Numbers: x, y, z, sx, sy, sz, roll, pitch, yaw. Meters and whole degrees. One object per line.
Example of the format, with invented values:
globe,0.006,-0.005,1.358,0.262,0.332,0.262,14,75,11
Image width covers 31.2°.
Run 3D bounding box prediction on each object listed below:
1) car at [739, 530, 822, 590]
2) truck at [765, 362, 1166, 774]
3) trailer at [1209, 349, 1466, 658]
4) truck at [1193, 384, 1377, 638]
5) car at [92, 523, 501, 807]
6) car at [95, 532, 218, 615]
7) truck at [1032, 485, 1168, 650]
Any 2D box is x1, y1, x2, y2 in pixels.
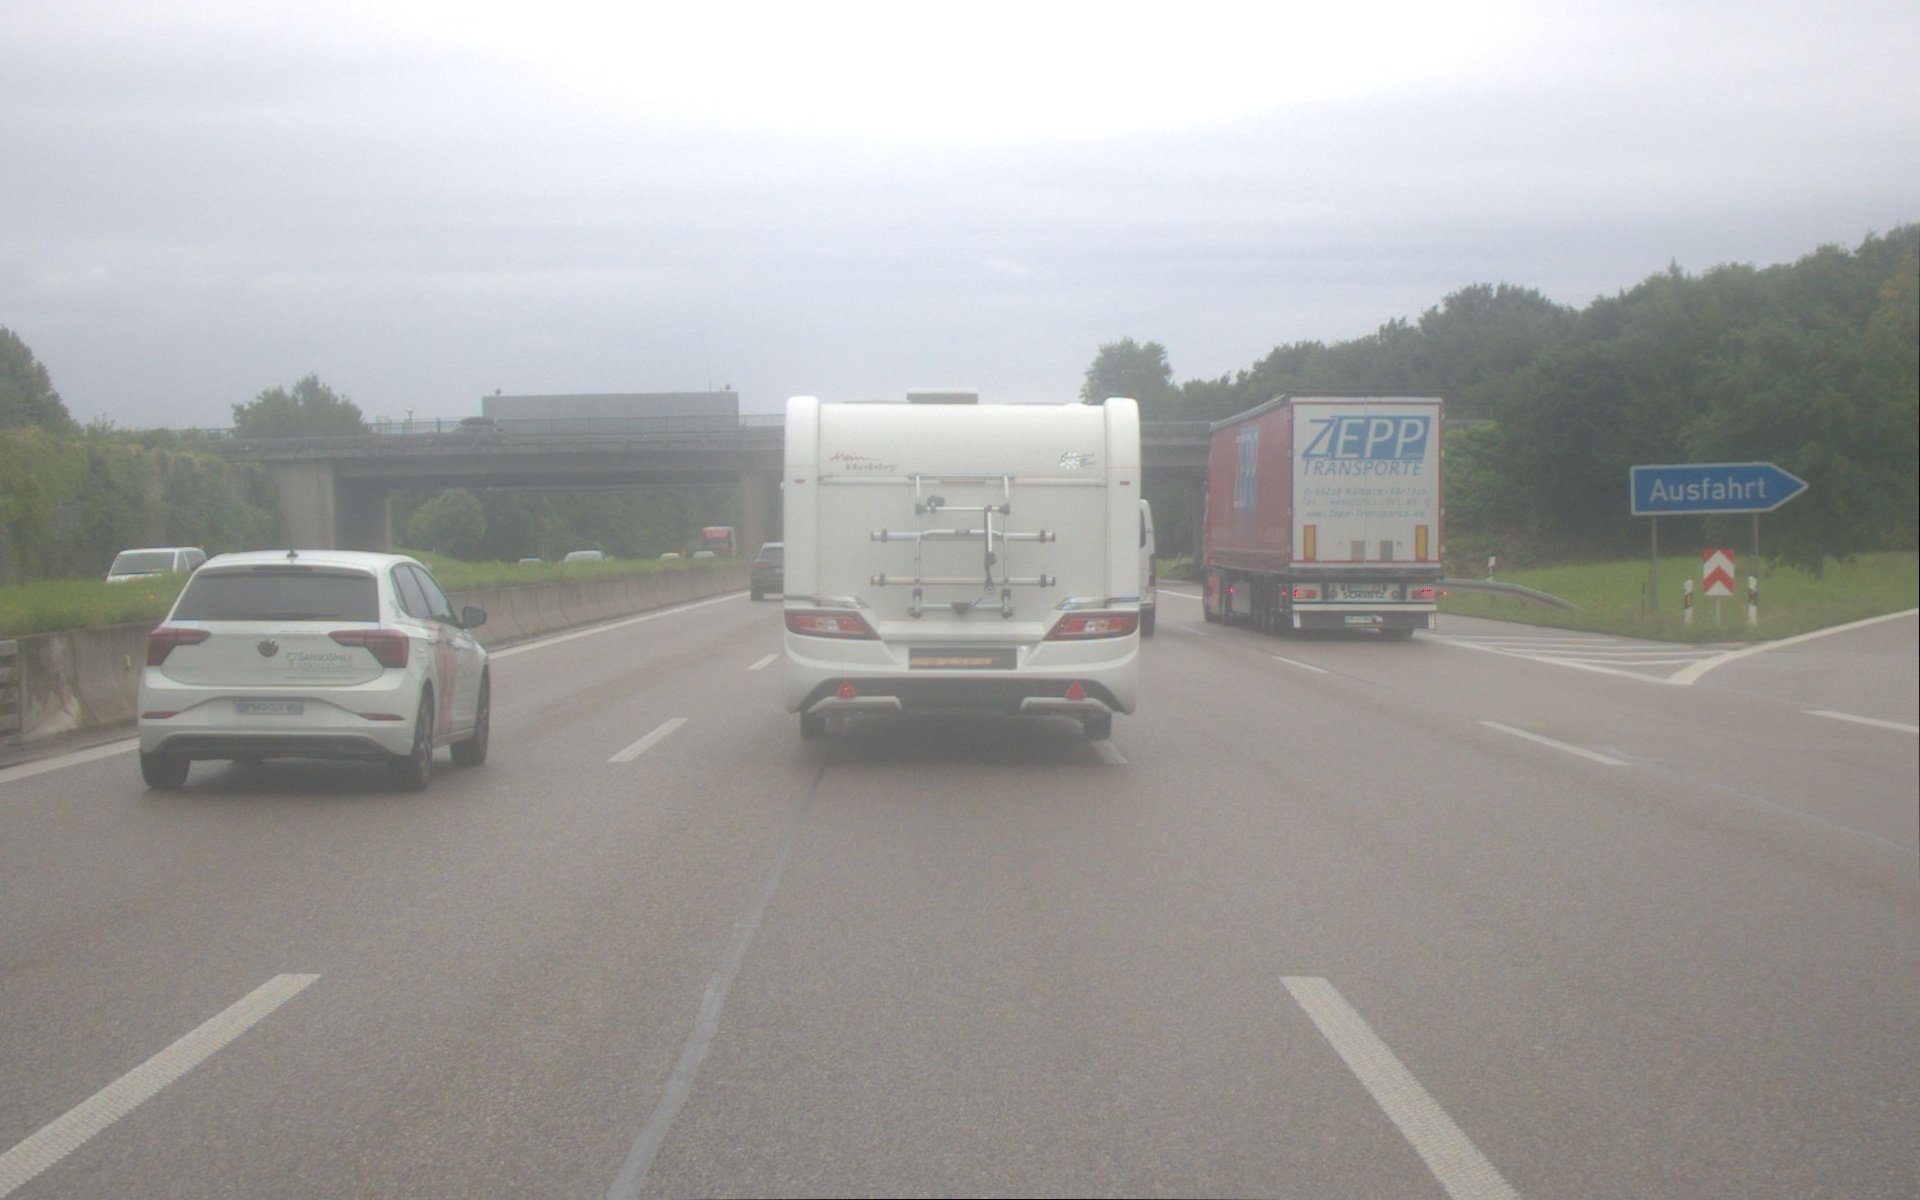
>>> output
car,-4.908,-1.101,94.749,1.993,1.594,5.123,1,1,0
truck,-0.002,-0.239,25.654,2.661,2.733,5.078,1,1,-1
trailer,6.477,-1.605,61.037,3.100,4.905,11.791,1,1,0
truck,6.424,-1.728,68.763,3.048,4.823,5.850,1,0,0
car,-4.115,0.336,22.030,1.753,1.612,4.664,0,1,-1
car,-20.249,-0.682,86.839,1.993,2.007,5.228,1,1,-1
truck,2.427,-0.571,60.915,2.053,2.760,5.549,1,1,-1
